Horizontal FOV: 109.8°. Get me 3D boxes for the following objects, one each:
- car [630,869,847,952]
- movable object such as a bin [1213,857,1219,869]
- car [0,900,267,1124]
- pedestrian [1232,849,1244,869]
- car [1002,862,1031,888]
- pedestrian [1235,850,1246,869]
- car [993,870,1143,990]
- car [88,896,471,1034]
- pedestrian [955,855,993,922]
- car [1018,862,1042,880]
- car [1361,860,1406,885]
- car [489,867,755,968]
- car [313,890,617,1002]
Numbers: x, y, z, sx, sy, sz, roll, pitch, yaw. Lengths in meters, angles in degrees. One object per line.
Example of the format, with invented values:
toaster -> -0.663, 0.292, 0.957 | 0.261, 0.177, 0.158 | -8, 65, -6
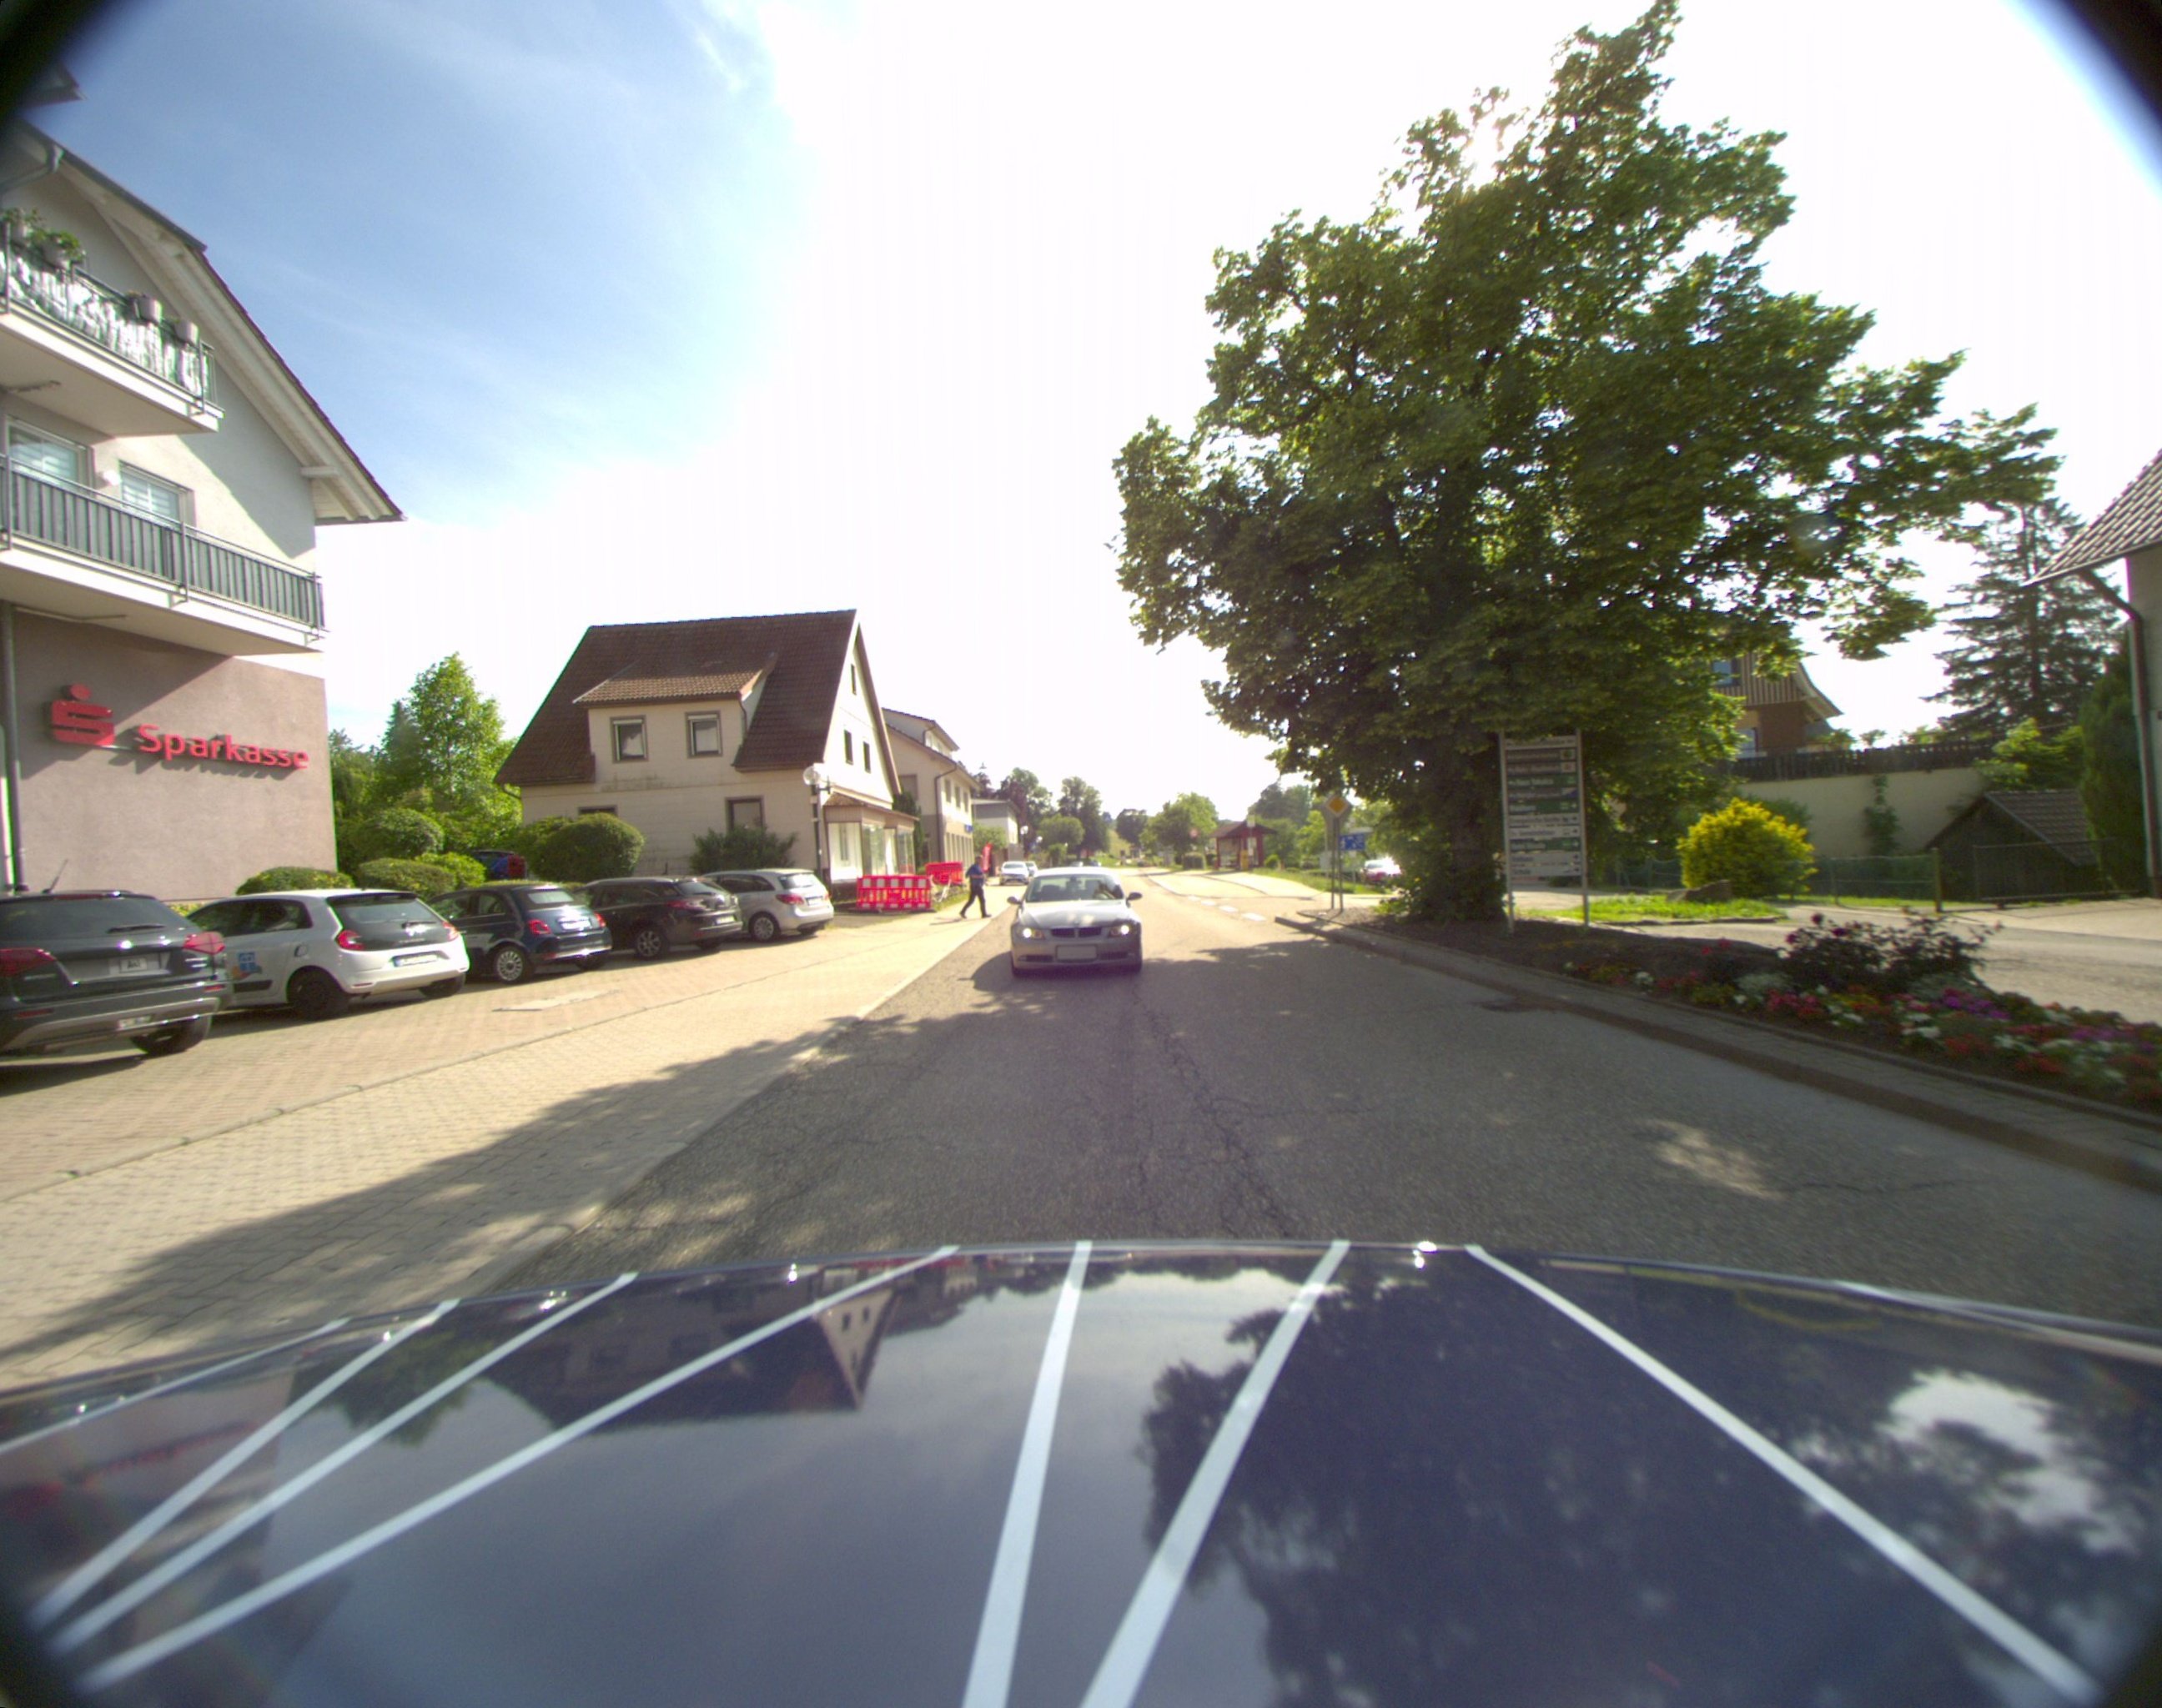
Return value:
car -> -7.431, 1.207, 16.672 | 3.868, 1.549, 1.965 | -3, 0, 12
movable object such as a bin -> 9.716, 0.626, 54.640 | 0.305, 0.832, 0.485 | -2, 1, -3
car -> -9.914, 1.259, 6.449 | 3.996, 1.539, 1.881 | -1, 0, 2
pedestrian -> 10.865, 0.342, 52.520 | 0.619, 1.356, 0.674 | -1, -1, -2
car -> -3.992, 1.261, 46.875 | 1.640, 1.411, 3.933 | -2, 0, -6
pedestrian -> 10.899, 0.386, 51.924 | 0.631, 1.245, 0.423 | -1, 1, -3
car -> -0.142, 0.986, 11.716 | 1.838, 1.360, 4.581 | -1, 0, 0
car -> -9.852, 1.331, 9.488 | 3.240, 1.460, 1.629 | -2, 0, 7
pedestrian -> -2.923, 0.922, 20.853 | 0.801, 1.774, 0.980 | -2, 0, 4
car -> -4.376, 1.436, 65.644 | 1.764, 1.415, 3.634 | -1, 0, 2
car -> 16.487, 0.986, 41.577 | 1.723, 1.289, 4.004 | -1, 0, 14
car -> -8.455, 1.147, 14.146 | 3.994, 1.540, 1.739 | -4, 0, 10
car -> -9.502, 1.390, 11.861 | 3.566, 1.410, 1.583 | -3, 0, 7
